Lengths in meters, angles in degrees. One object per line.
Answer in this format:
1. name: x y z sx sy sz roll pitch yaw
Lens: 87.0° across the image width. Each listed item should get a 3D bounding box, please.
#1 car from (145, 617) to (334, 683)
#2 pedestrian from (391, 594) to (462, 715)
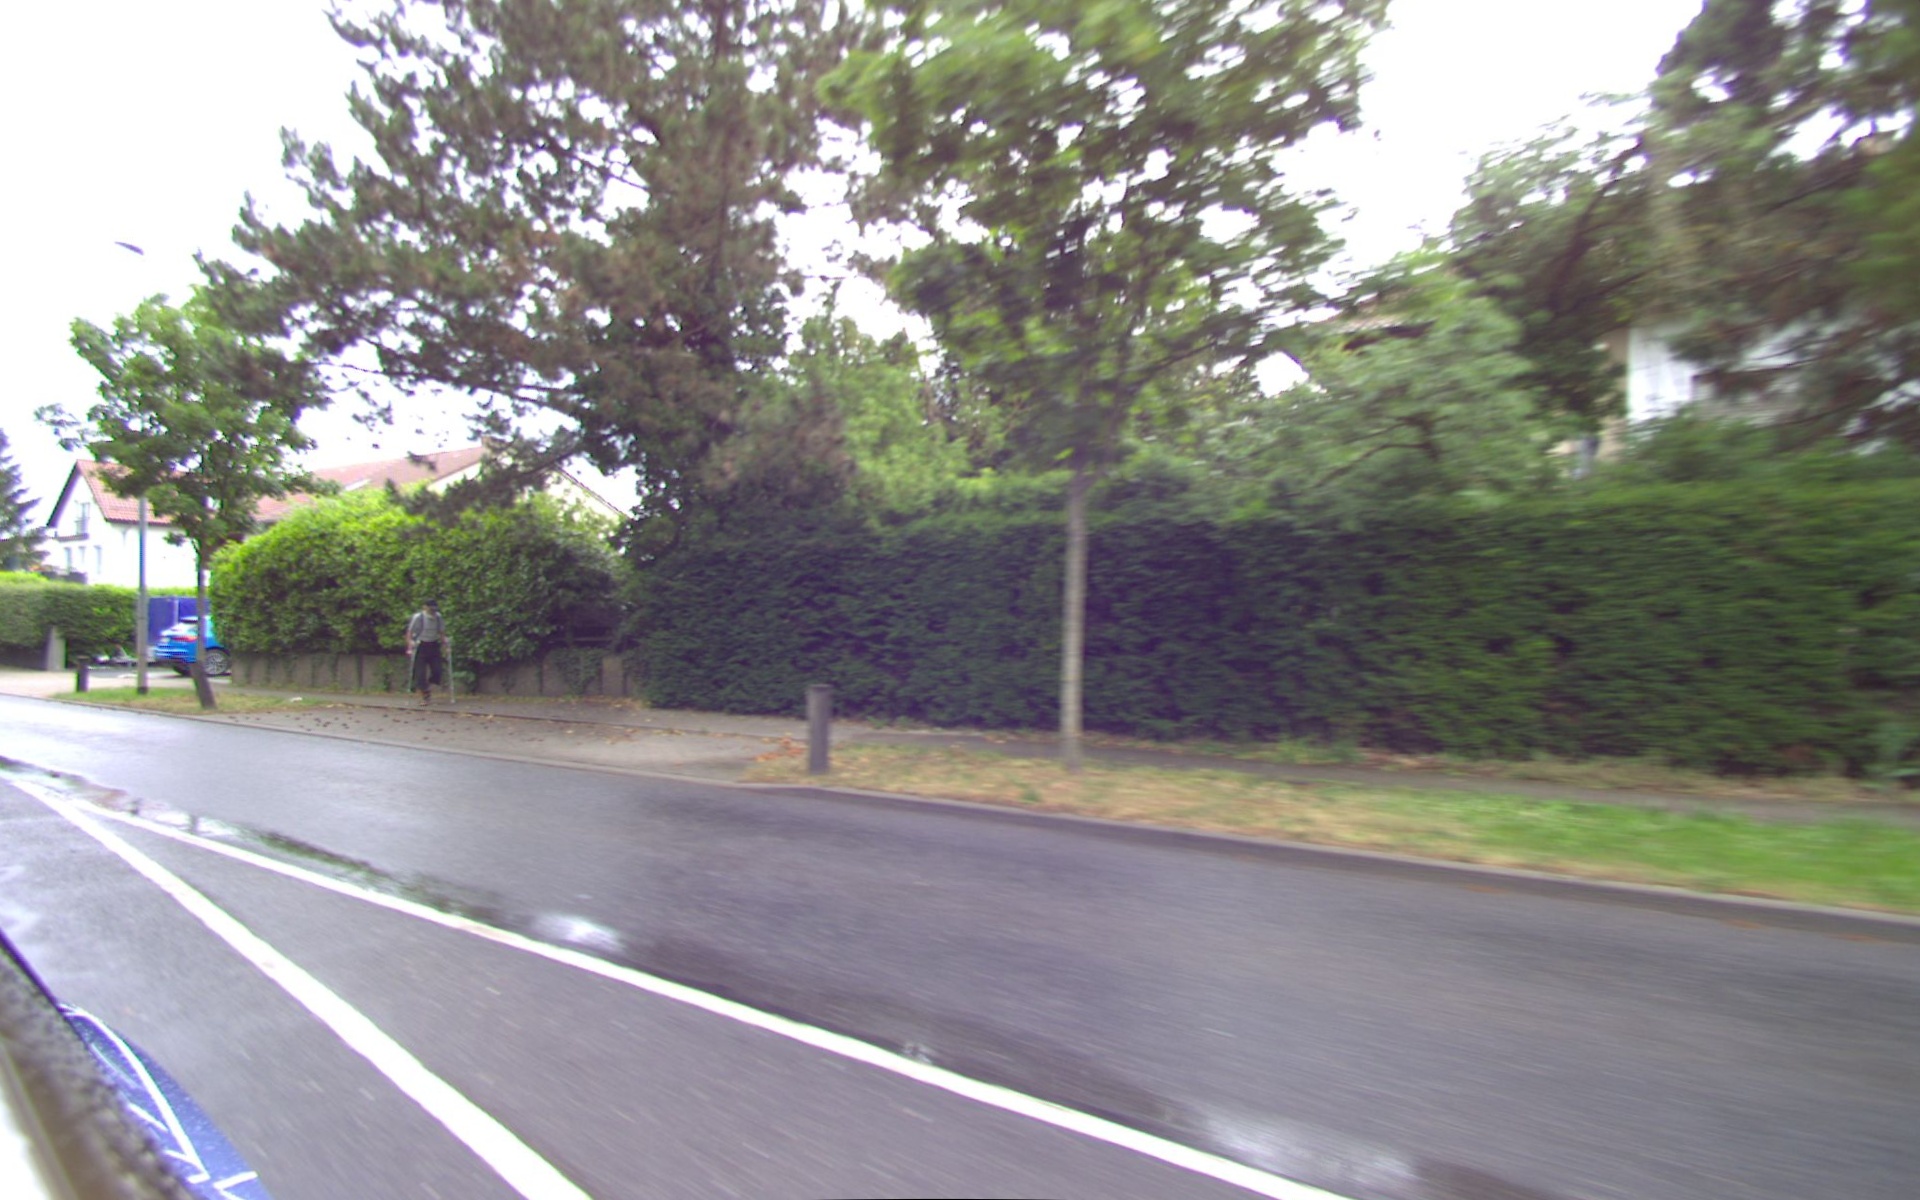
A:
1. car: -19.572 1.301 27.634 1.812 1.598 3.822 -1 -1 31
2. pedestrian: -8.425 0.837 15.972 0.880 1.844 0.704 -1 -2 40
